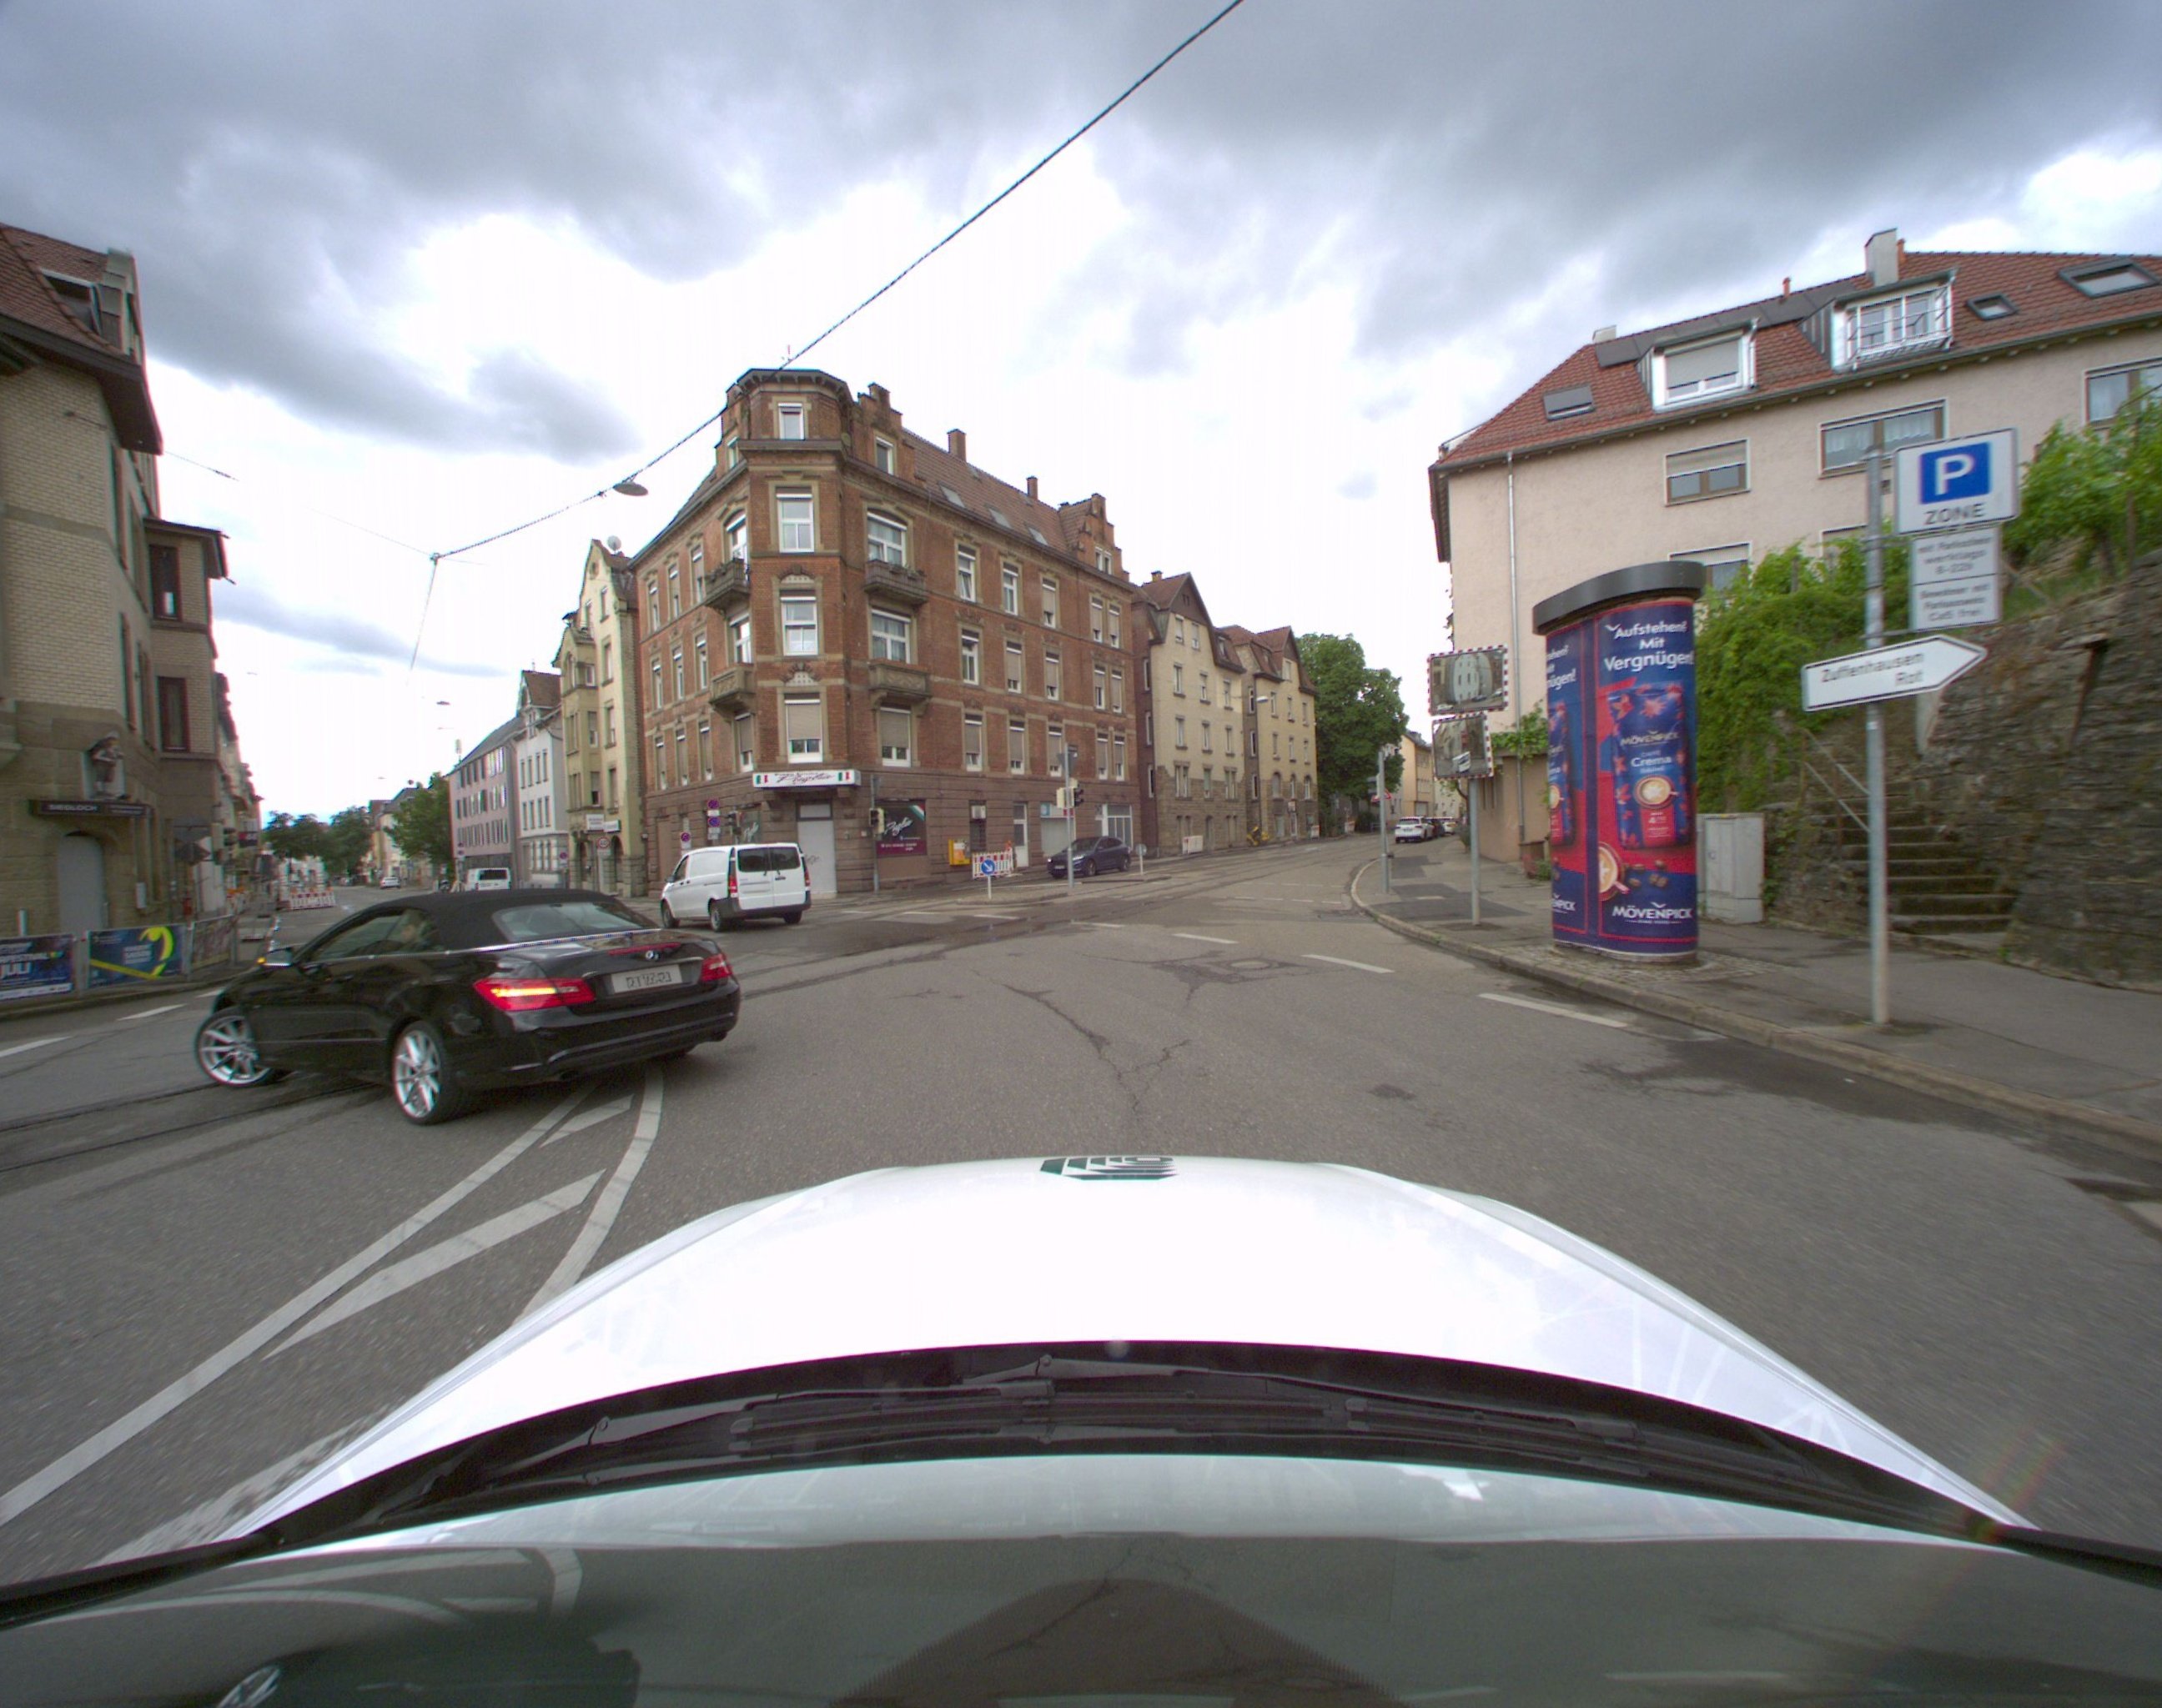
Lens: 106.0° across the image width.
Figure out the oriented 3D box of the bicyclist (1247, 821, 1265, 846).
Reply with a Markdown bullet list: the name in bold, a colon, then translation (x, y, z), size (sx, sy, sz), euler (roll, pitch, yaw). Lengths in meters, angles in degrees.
- **bicyclist**: translation (12.936, -1.501, 60.311), size (0.785, 1.702, 0.941), euler (-5, -1, -17)

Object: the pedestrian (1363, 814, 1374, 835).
- **pedestrian**: translation (28.384, -2.878, 80.521), size (0.757, 2.013, 0.758), euler (-4, 0, 32)

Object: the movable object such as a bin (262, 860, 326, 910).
- **movable object such as a bin**: translation (-49.442, 1.904, 51.139), size (4.482, 2.824, 2.561), euler (-2, 3, 44)

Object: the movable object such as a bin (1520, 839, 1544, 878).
- **movable object such as a bin**: translation (10.840, 0.109, 19.589), size (0.341, 0.911, 0.496), euler (-2, 1, 10)

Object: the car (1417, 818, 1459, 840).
- **car**: translation (24.619, -1.761, 56.090), size (1.974, 1.288, 4.026), euler (-5, -1, 32)

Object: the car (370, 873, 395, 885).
- **car**: translation (-88.533, 3.188, 103.232), size (3.950, 1.486, 2.012), euler (-2, -2, 45)

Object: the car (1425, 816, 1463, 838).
- **car**: translation (27.274, -2.023, 61.180), size (1.792, 1.462, 4.026), euler (-4, 0, 35)

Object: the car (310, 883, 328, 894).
- **car**: translation (-134.797, 6.141, 144.114), size (2.011, 1.618, 3.952), euler (-5, 0, -40)

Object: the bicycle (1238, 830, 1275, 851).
- **bicycle**: translation (12.981, -0.969, 60.327), size (2.598, 1.306, 0.629), euler (-5, -1, -18)

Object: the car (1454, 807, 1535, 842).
- **car**: translation (23.502, -1.652, 46.423), size (3.876, 1.552, 1.881), euler (-5, -1, 22)

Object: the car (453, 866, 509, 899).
- **car**: translation (-39.560, 1.879, 53.673), size (4.864, 2.005, 2.148), euler (-2, -1, 44)

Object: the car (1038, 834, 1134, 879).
- **car**: translation (0.281, 0.071, 34.530), size (1.974, 1.515, 4.314), euler (-5, 1, 33)

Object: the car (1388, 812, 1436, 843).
- **car**: translation (21.076, -1.697, 51.808), size (1.930, 1.718, 4.026), euler (-4, 0, 34)

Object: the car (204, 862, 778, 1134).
- **car**: translation (-4.588, 0.910, 6.208), size (4.342, 1.409, 1.778), euler (-4, 0, 28)

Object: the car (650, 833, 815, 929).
- **car**: translation (-8.263, 0.649, 19.087), size (1.909, 1.929, 4.587), euler (-3, -1, -45)
